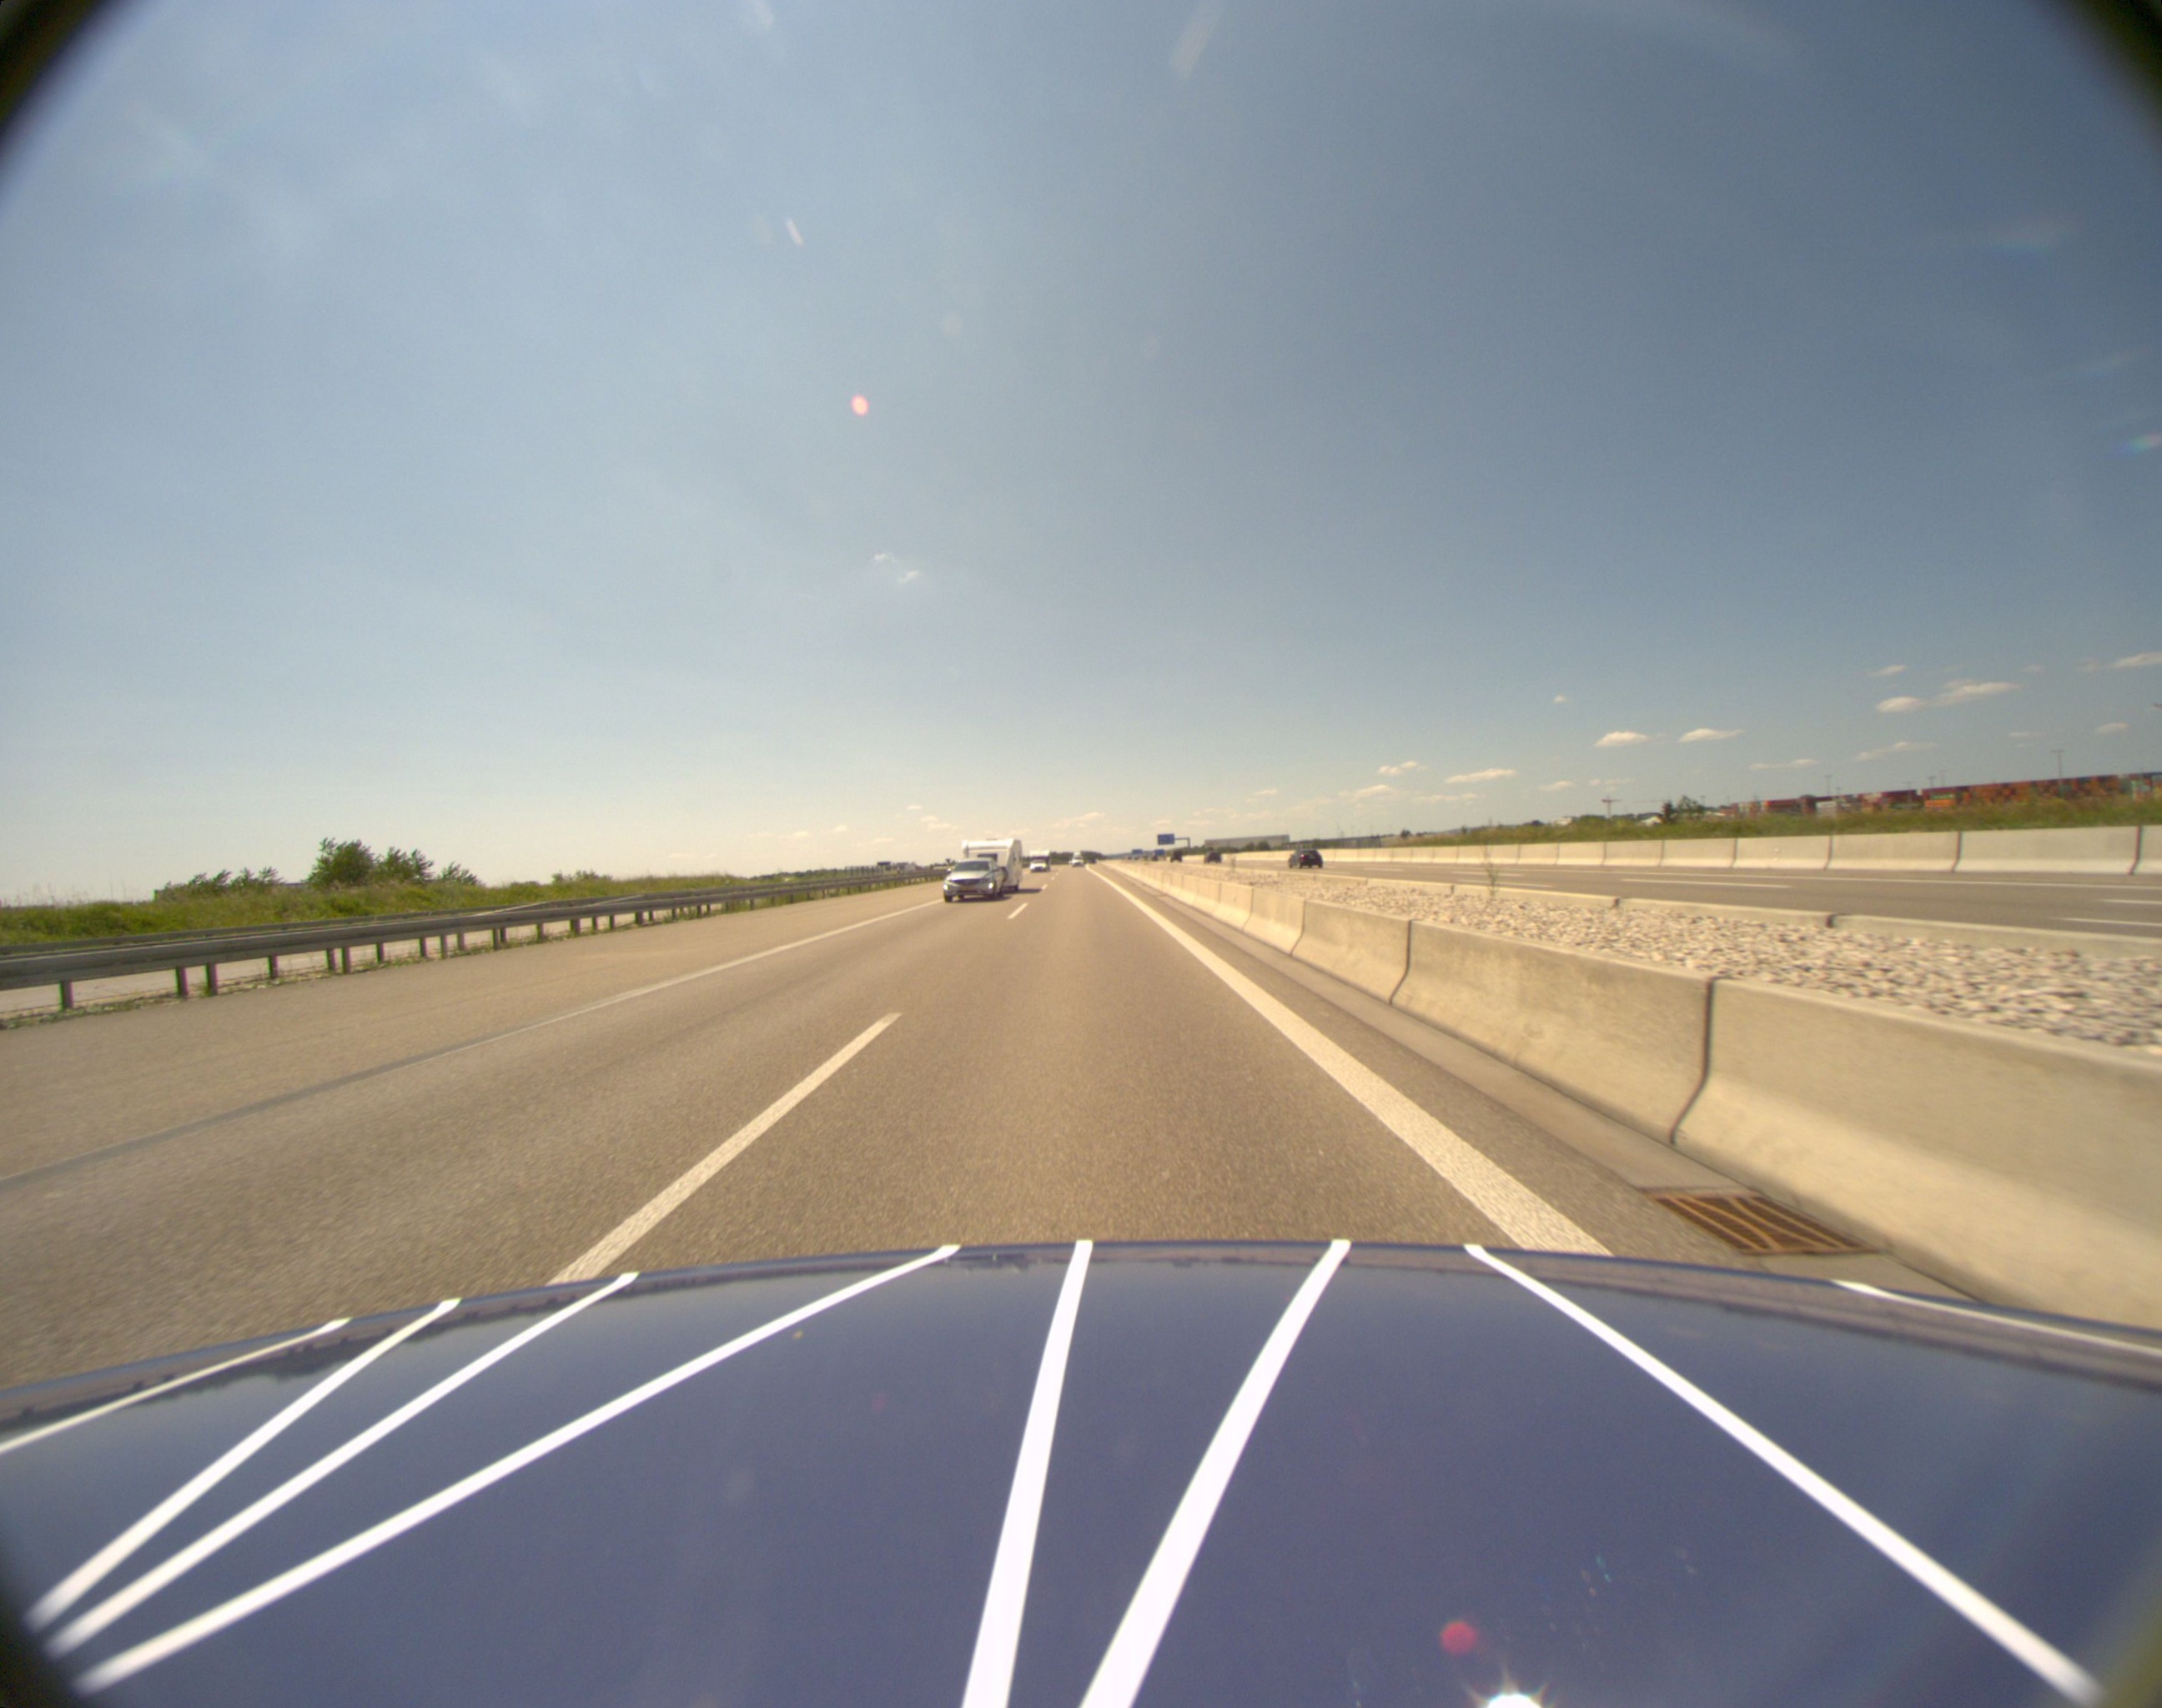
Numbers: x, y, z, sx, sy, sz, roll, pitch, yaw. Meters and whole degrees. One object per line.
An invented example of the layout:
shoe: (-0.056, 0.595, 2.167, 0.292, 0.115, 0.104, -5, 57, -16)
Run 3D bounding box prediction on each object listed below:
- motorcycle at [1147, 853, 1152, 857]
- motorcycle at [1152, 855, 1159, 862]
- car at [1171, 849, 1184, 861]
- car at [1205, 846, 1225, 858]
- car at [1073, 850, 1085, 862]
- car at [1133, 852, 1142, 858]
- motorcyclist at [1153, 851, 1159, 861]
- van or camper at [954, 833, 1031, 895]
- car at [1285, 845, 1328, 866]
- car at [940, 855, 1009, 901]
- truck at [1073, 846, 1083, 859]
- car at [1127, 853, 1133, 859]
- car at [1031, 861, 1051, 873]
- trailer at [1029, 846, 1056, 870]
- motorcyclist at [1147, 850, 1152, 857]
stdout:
motorcycle: (14.684, 0.257, 163.433, 0.777, 0.897, 2.705, -2, 0, 1)
motorcycle: (13.367, 0.747, 135.630, 0.960, 1.162, 2.722, -2, 0, 1)
car: (17.506, 0.192, 138.320, 1.889, 2.006, 4.735, -2, 0, 1)
car: (17.738, -0.267, 100.648, 1.873, 1.482, 5.139, -2, 0, 1)
car: (-0.295, 0.327, 130.879, 1.998, 2.002, 4.000, -2, 0, 1)
car: (14.964, 0.279, 201.140, 1.998, 1.659, 4.649, -2, 0, 1)
motorcyclist: (13.348, 0.374, 135.540, 0.922, 1.612, 1.088, -2, 0, 1)
van or camper: (-4.032, 0.479, 36.156, 2.518, 2.577, 7.818, -2, -1, 1)
car: (16.789, 0.104, 56.758, 1.998, 1.371, 4.364, -2, 0, 2)
car: (-4.089, 0.899, 29.874, 1.885, 1.613, 4.904, -2, -1, 1)
truck: (-0.615, -0.265, 174.423, 2.168, 2.797, 6.490, -2, 0, 1)
car: (15.961, 0.664, 248.468, 1.889, 1.676, 5.016, -2, 0, 1)
car: (-4.581, 1.480, 86.870, 1.872, 1.351, 3.673, -1, -1, 3)
trailer: (-4.609, 0.537, 92.292, 2.500, 2.686, 7.157, -2, -1, 3)
motorcyclist: (14.691, -0.109, 163.816, 0.920, 1.488, 0.923, -2, 0, 1)
